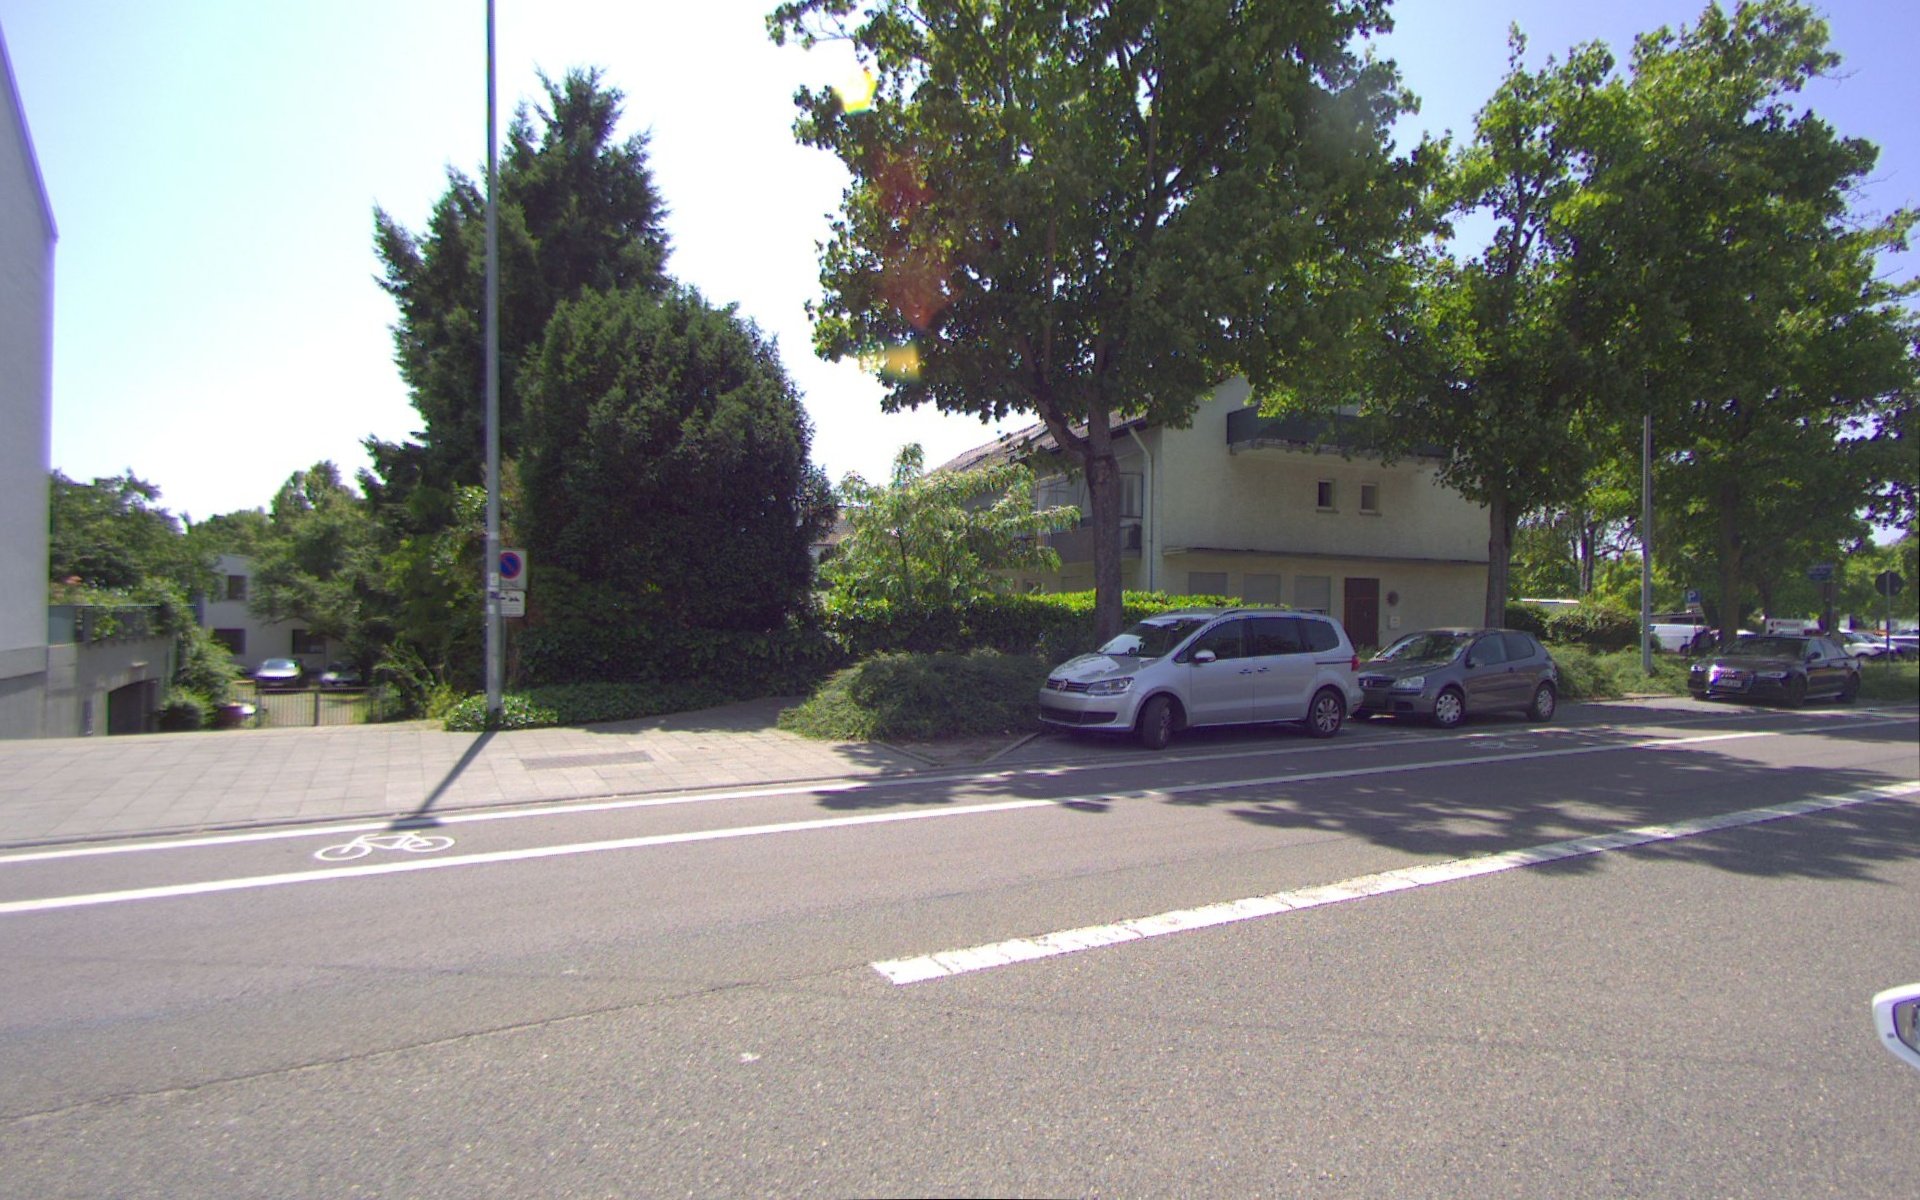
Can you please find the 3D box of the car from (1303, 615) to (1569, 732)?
[{"bbox_3d":[7.612,1.092,16.003,4.132,1.585,1.809,1,1,-31],"label":"car"}]

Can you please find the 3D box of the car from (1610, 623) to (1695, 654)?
[{"bbox_3d":[42.740,2.371,62.074,1.799,1.675,3.957,2,1,-37],"label":"car"}]

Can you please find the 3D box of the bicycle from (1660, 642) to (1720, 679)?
[{"bbox_3d":[22.357,1.861,30.769,1.805,1.043,0.698,2,1,-27],"label":"bicycle"}]

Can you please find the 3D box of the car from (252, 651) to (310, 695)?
[{"bbox_3d":[-33.008,3.519,48.932,1.977,1.740,3.968,2,1,-30],"label":"car"}]

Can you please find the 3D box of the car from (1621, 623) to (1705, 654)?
[{"bbox_3d":[44.512,2.438,63.660,1.799,1.675,3.957,2,1,-37],"label":"car"}]

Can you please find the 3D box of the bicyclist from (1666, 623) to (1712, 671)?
[{"bbox_3d":[22.313,1.428,30.734,0.817,1.392,0.806,2,1,-27],"label":"bicyclist"}]

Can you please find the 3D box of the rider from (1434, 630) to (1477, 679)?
[{"bbox_3d":[14.524,1.583,29.458,0.800,1.392,0.824,1,-1,-22],"label":"rider"}]

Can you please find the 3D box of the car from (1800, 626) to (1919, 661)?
[{"bbox_3d":[43.522,2.060,48.379,1.886,1.606,4.333,1,-1,-23],"label":"car"}]

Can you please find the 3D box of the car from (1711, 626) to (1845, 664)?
[{"bbox_3d":[36.671,1.977,45.142,1.891,1.606,4.321,1,-1,-31],"label":"car"}]

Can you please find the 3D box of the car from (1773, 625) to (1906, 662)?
[{"bbox_3d":[41.159,2.009,47.117,1.886,1.606,4.332,1,-1,-24],"label":"car"}]

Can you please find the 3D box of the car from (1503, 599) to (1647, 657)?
[{"bbox_3d":[35.950,1.596,58.960,2.337,3.005,6.817,2,1,-30],"label":"car"}]

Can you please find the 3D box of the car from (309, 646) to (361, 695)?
[{"bbox_3d":[-30.955,3.455,49.804,1.977,2.040,3.968,2,1,-30],"label":"car"}]

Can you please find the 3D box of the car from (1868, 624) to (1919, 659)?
[{"bbox_3d":[50.348,2.158,52.434,1.975,1.769,3.968,1,-1,-30],"label":"car"}]

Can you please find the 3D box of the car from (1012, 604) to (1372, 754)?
[{"bbox_3d":[3.181,0.937,13.448,4.725,1.687,1.863,1,0,-31],"label":"car"}]

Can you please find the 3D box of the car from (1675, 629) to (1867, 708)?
[{"bbox_3d":[17.707,1.426,21.893,4.397,1.496,1.809,1,1,-31],"label":"car"}]

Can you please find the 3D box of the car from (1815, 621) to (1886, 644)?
[{"bbox_3d":[73.550,2.681,82.985,1.795,1.638,4.000,2,1,-30],"label":"car"}]
